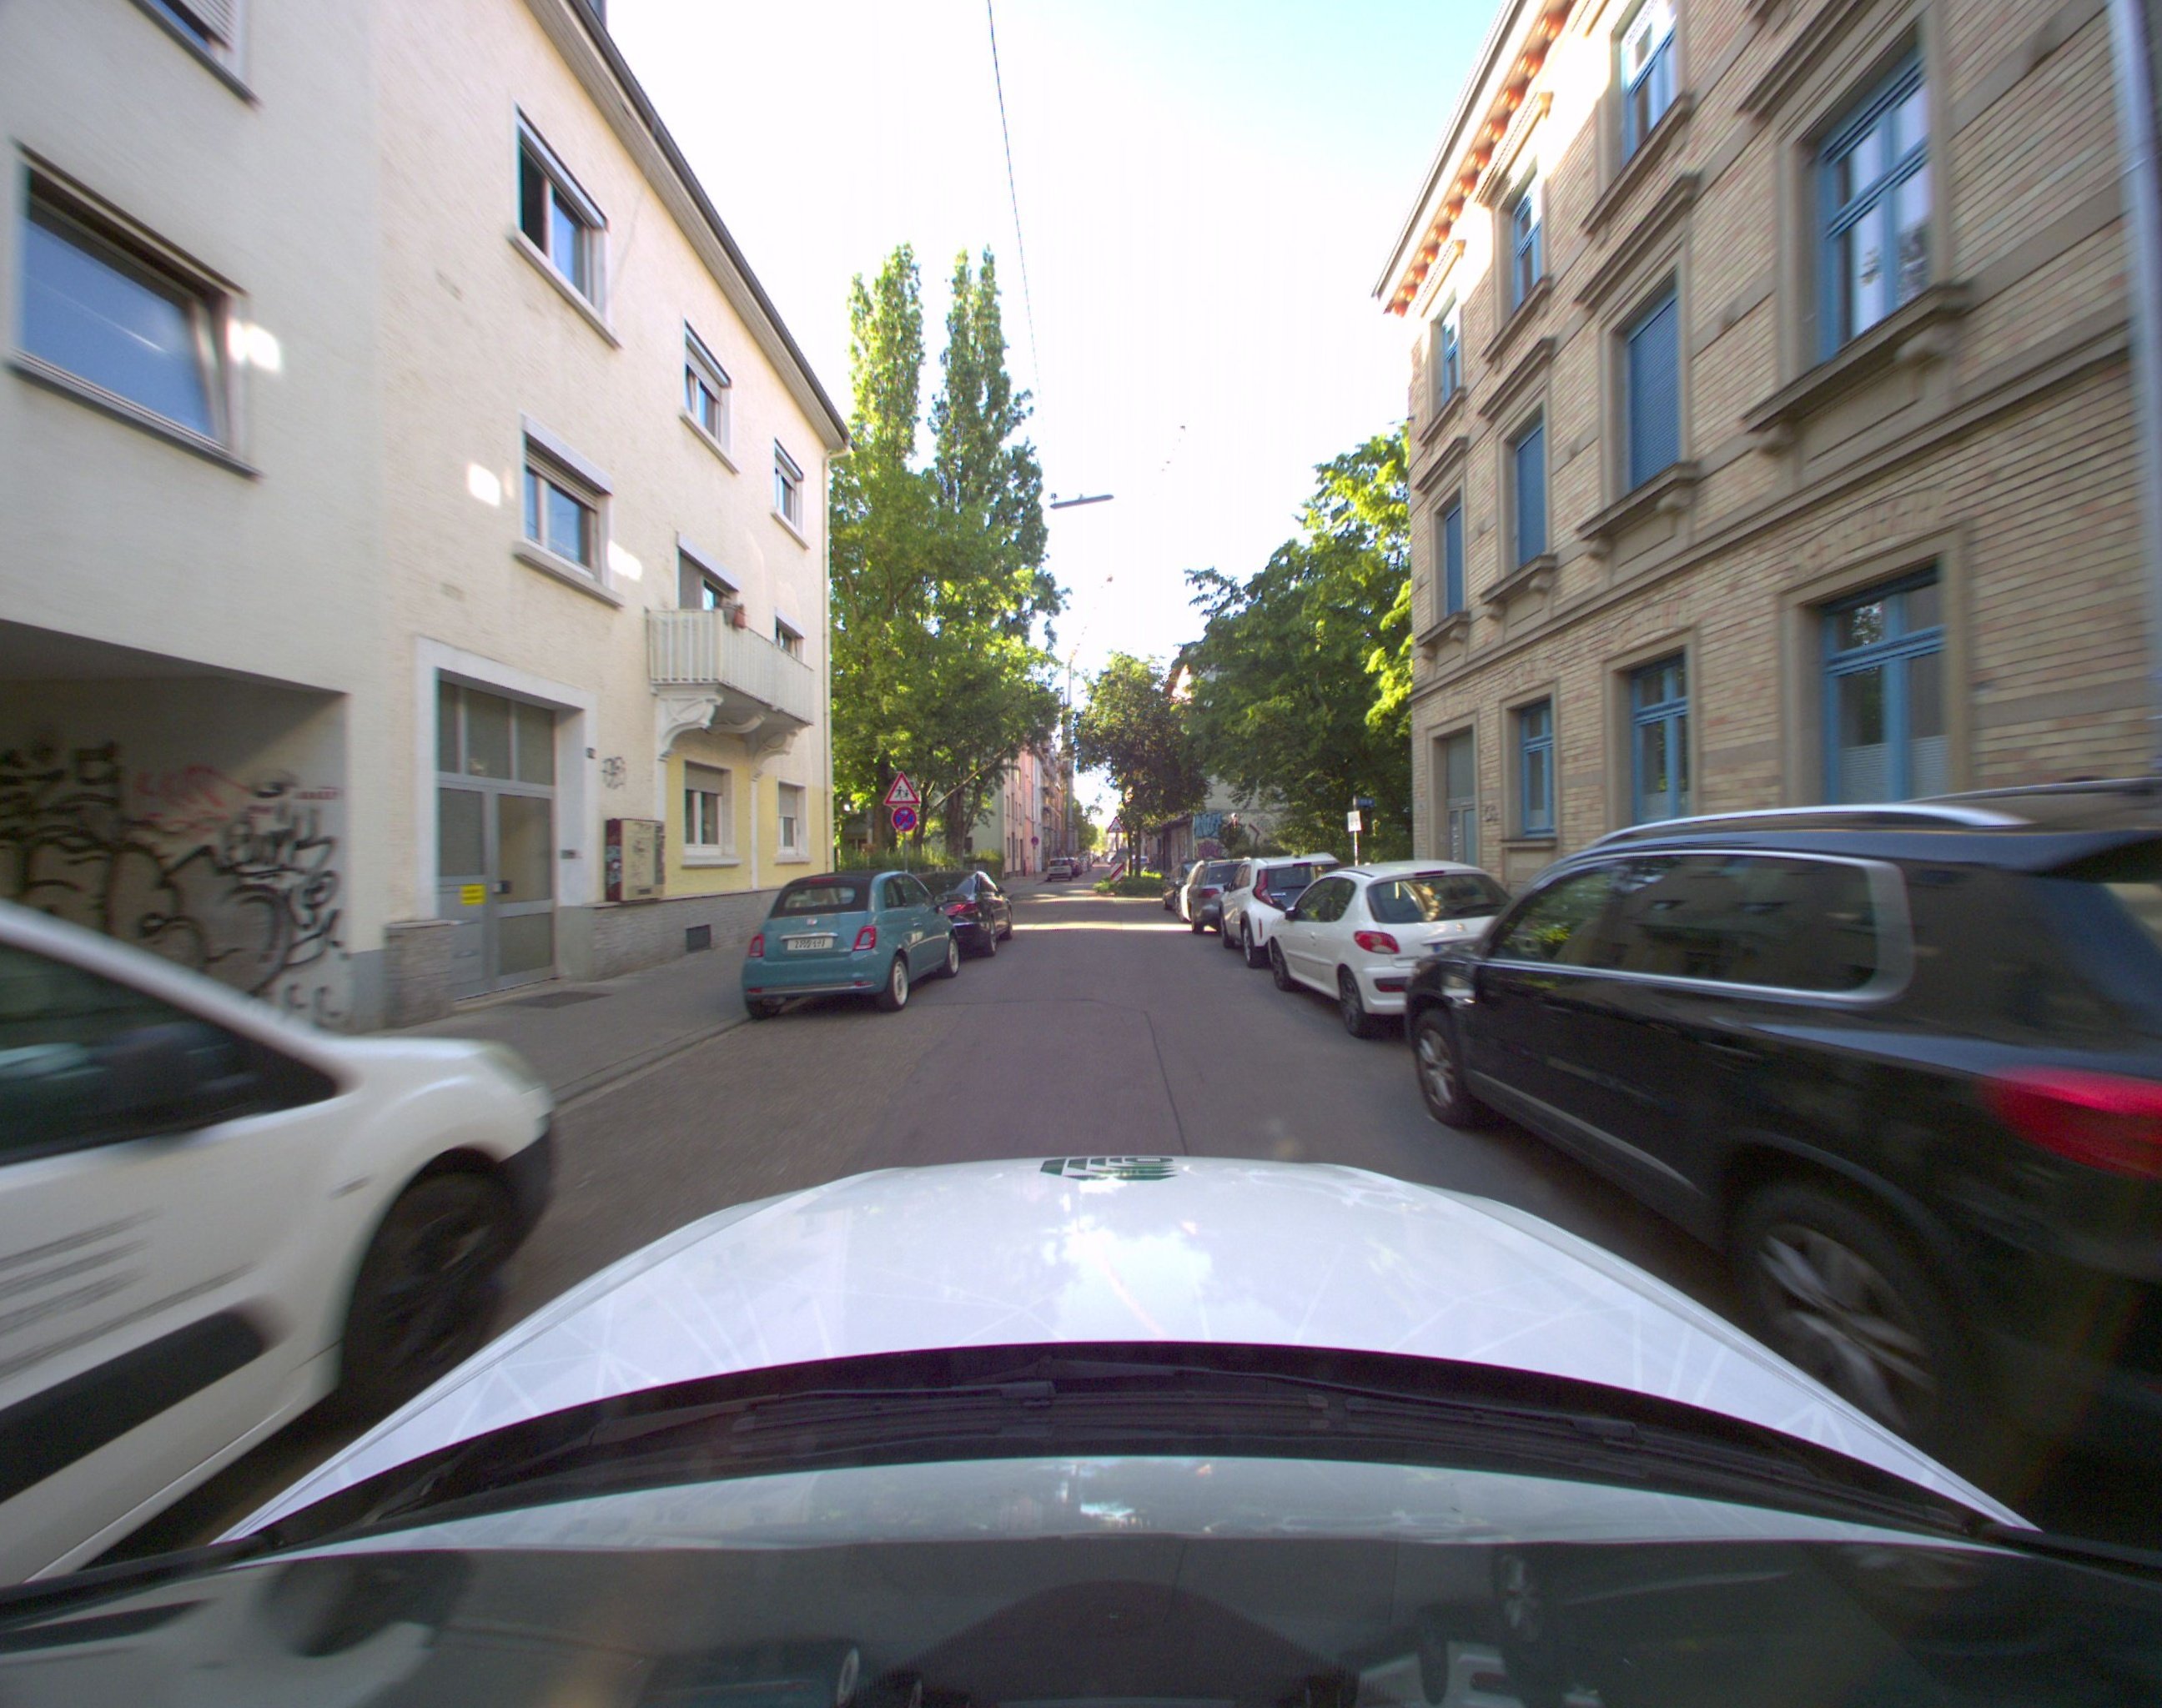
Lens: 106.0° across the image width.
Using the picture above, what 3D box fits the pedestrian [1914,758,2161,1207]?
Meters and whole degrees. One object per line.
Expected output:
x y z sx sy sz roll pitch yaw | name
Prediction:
4.189 0.470 3.382 0.683 1.660 0.717 -2 0 1 | pedestrian

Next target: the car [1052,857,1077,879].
-1.191 1.021 60.539 1.670 1.487 4.095 -3 0 1 | car

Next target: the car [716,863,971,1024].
-2.600 0.907 9.916 1.662 1.469 3.825 -3 0 4 | car

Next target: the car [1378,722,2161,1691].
2.770 0.608 3.372 1.669 1.681 4.097 -3 -1 2 | car

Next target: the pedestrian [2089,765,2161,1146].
5.026 0.433 3.406 0.683 1.660 0.717 -2 0 1 | pedestrian

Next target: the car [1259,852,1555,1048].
2.988 0.764 8.290 1.561 1.483 3.619 -3 0 1 | car

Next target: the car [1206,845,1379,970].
3.073 0.709 12.593 1.670 1.561 3.796 -3 0 1 | car

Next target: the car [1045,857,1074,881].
-1.420 0.985 55.120 1.670 1.487 4.095 -3 0 1 | car

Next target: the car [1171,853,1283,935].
3.004 0.760 17.500 1.670 1.487 4.095 -3 0 1 | car

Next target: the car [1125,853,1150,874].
4.341 0.729 62.918 1.670 1.487 3.638 -3 0 1 | car

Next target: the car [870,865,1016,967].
-2.184 0.934 13.957 1.664 1.361 4.050 -3 0 1 | car

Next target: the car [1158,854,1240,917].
3.169 0.789 22.502 1.670 1.487 4.095 -3 0 1 | car

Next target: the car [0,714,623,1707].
-2.775 0.683 1.224 1.759 1.785 4.039 -3 0 1 | car

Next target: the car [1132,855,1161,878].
4.515 0.827 56.501 1.670 1.487 3.638 -3 0 1 | car
